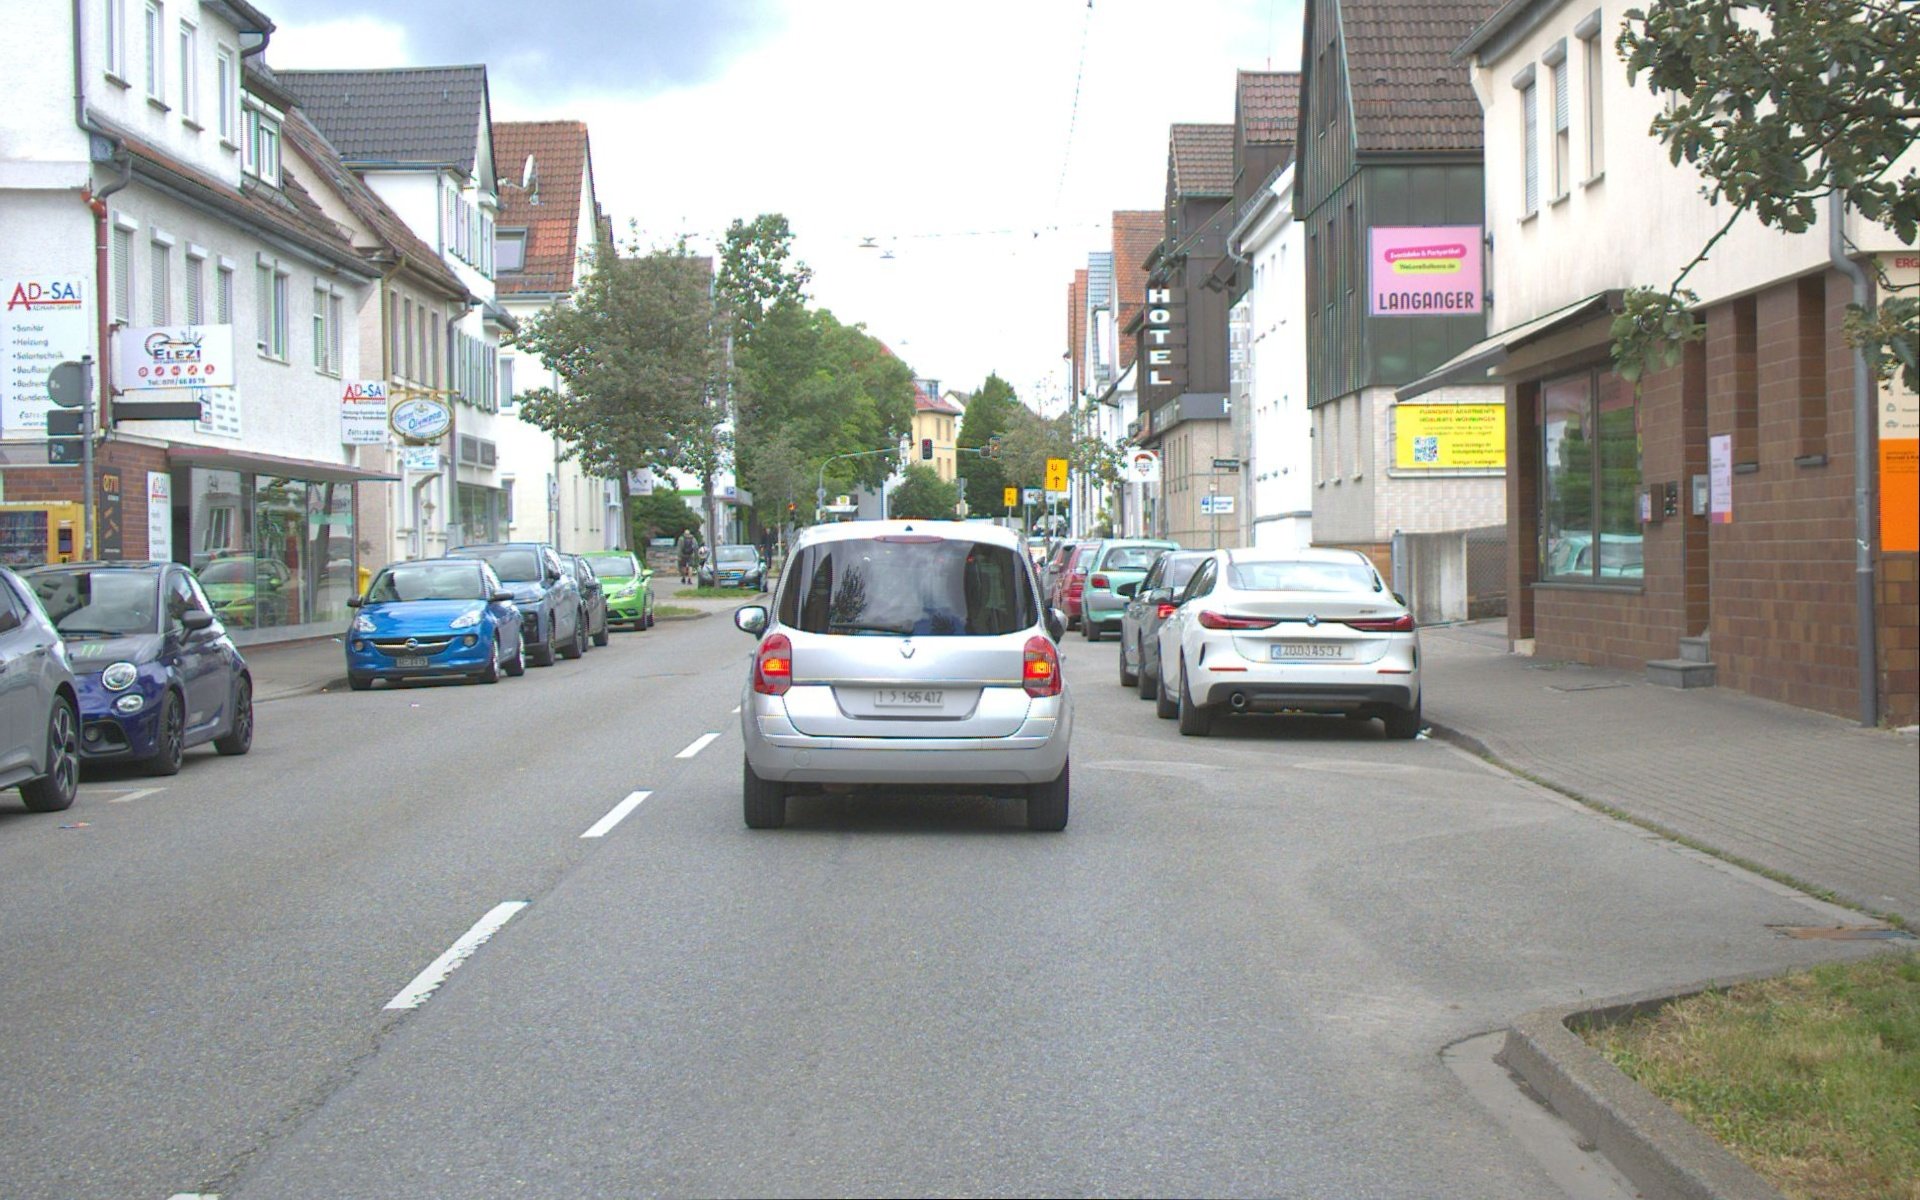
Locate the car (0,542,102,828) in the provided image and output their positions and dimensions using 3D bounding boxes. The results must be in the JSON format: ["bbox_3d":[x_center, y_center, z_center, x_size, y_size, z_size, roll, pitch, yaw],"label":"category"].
[{"bbox_3d":[-6.122,0.496,18.871,1.710,1.560,4.113,-2,1,1],"label":"car"}]

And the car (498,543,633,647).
[{"bbox_3d":[-5.959,-0.106,52.250,1.581,1.503,3.812,0,1,0],"label":"car"}]

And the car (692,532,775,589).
[{"bbox_3d":[-6.396,-1.132,97.357,1.948,1.462,4.516,-3,1,0],"label":"car"}]

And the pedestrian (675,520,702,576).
[{"bbox_3d":[-8.656,-1.668,109.623,0.762,1.785,0.890,0,1,0],"label":"pedestrian"}]

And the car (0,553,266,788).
[{"bbox_3d":[-6.166,0.451,24.385,1.682,1.488,3.591,-2,1,1],"label":"car"}]

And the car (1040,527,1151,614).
[{"bbox_3d":[2.444,-0.562,62.818,1.876,1.534,4.513,0,1,0],"label":"car"}]

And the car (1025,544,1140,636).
[{"bbox_3d":[1.990,-0.201,56.851,1.755,1.441,4.455,1,1,0],"label":"car"}]

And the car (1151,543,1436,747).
[{"bbox_3d":[2.520,0.286,26.897,1.831,1.441,4.332,1,1,0],"label":"car"}]

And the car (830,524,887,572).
[{"bbox_3d":[-3.544,-1.840,120.436,1.794,1.573,4.192,-3,1,0],"label":"car"}]

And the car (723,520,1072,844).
[{"bbox_3d":[-0.289,0.361,18.685,1.682,1.560,3.993,1,1,0],"label":"car"}]

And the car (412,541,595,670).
[{"bbox_3d":[-6.105,0.032,46.369,1.803,1.593,4.304,-2,1,1],"label":"car"}]

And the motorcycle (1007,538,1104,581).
[{"bbox_3d":[2.661,-1.124,95.839,2.728,1.179,0.700,0,1,-30],"label":"motorcycle"}]

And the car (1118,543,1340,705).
[{"bbox_3d":[2.516,0.182,33.014,1.831,1.441,4.110,1,1,0],"label":"car"}]

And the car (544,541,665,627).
[{"bbox_3d":[-6.374,-0.315,62.049,1.682,1.442,4.020,-2,1,1],"label":"car"}]

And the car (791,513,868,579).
[{"bbox_3d":[-3.644,-1.518,96.545,1.900,1.731,4.366,-2,1,1],"label":"car"}]

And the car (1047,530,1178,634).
[{"bbox_3d":[2.264,-0.300,51.980,1.831,1.492,3.993,1,1,0],"label":"car"}]

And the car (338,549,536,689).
[{"bbox_3d":[-6.113,0.183,40.545,1.682,1.494,3.775,-2,1,1],"label":"car"}]
